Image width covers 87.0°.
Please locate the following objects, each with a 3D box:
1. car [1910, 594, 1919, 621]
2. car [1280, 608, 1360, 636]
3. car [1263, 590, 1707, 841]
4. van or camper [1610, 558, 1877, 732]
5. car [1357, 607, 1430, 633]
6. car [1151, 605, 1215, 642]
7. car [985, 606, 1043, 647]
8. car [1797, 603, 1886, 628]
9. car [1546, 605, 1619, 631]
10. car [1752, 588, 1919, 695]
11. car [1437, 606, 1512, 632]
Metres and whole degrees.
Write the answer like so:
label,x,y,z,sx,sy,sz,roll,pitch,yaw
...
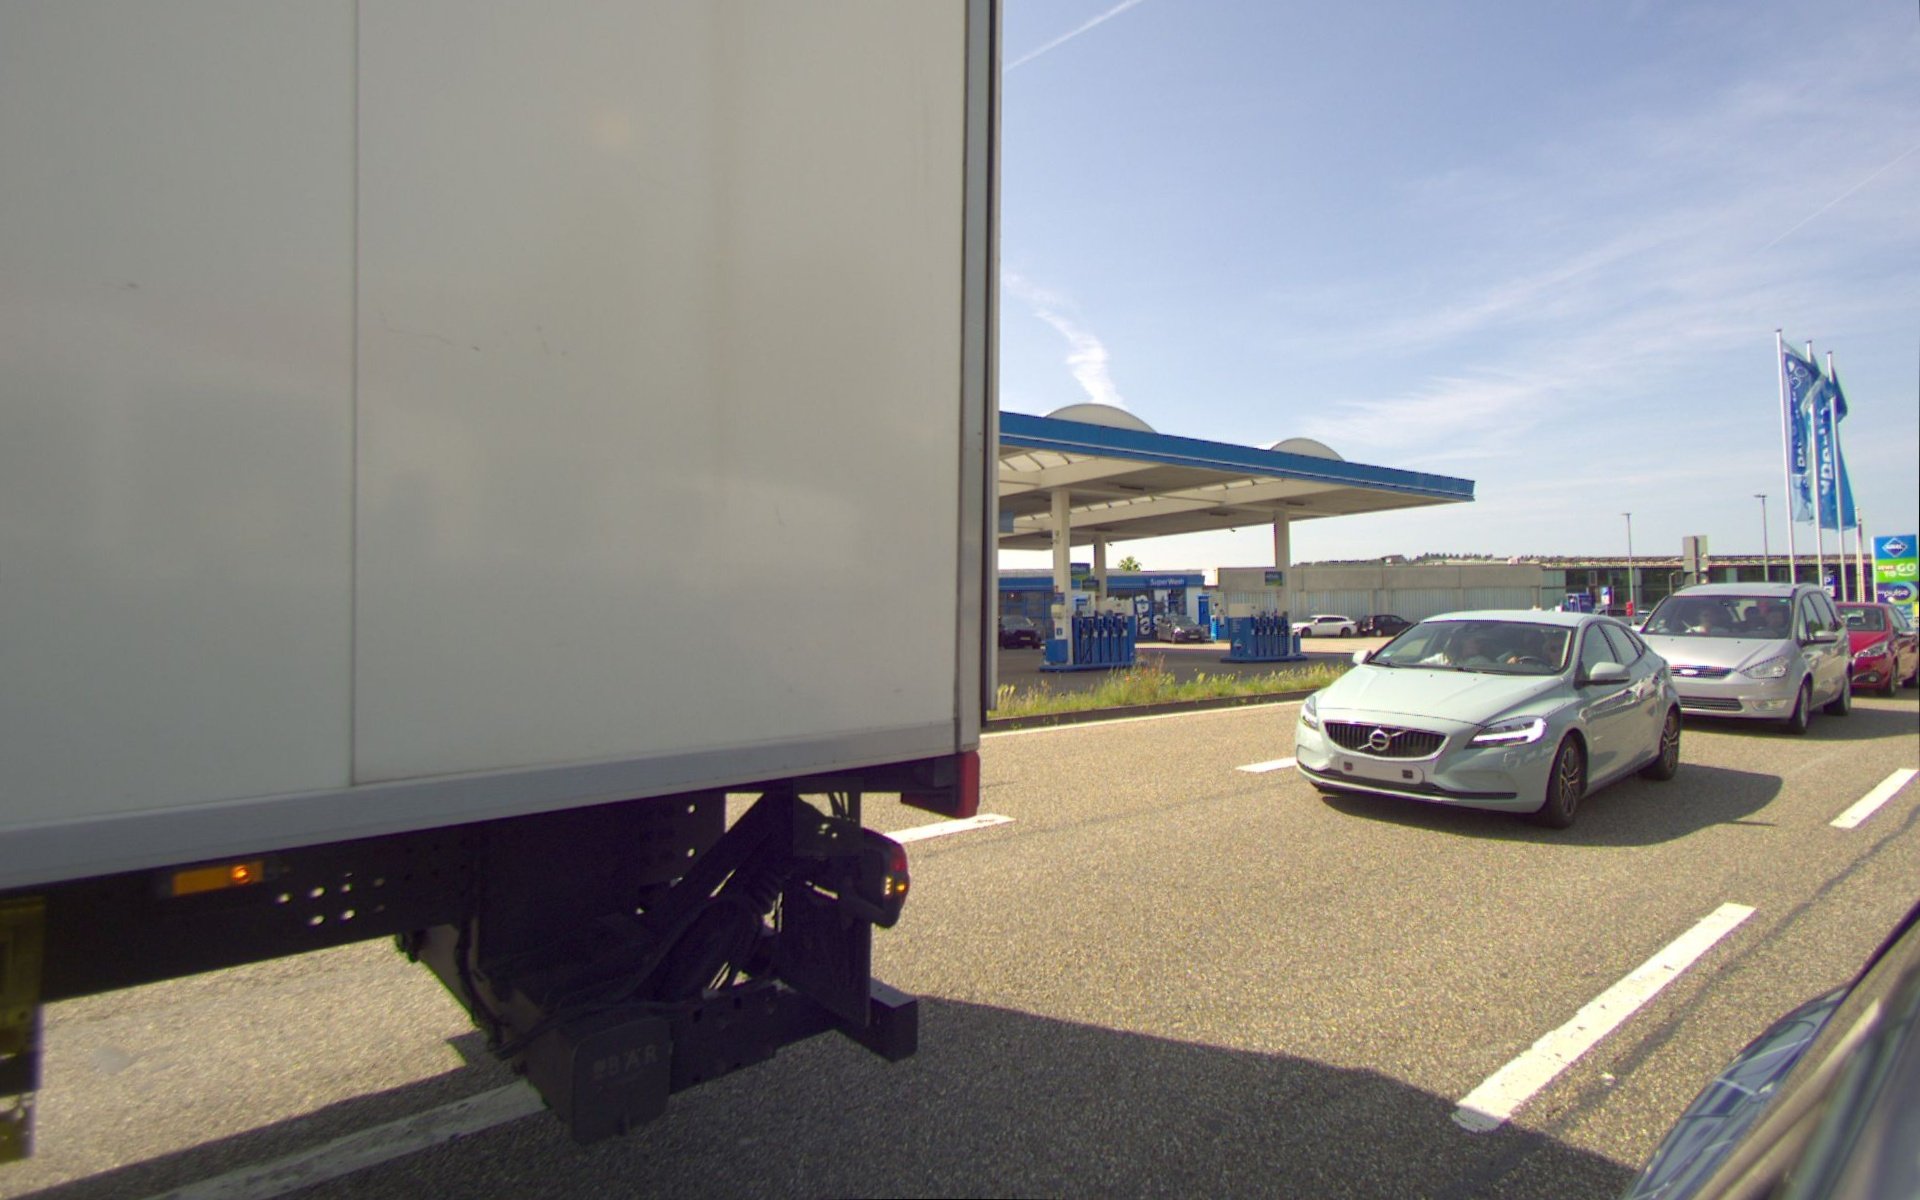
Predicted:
label,x,y,z,sx,sy,sz,roll,pitch,yaw
car,60.330,0.467,60.916,1.784,1.659,4.266,1,-1,-14
car,22.998,1.395,64.671,4.436,1.625,1.893,-1,-1,-12
car,4.257,0.677,7.891,4.153,1.447,1.737,0,-1,-43
van or camper,10.109,0.481,12.888,5.044,1.810,1.749,0,-1,-42
car,28.207,1.280,65.891,3.938,1.625,1.893,-1,-1,-10
car,11.665,1.209,53.205,1.851,1.849,4.177,-1,-1,-9
car,2.605,1.374,50.130,1.864,1.849,4.739,-2,-3,-9
car,60.393,1.094,69.414,1.785,1.659,4.471,1,-1,-9
car,40.538,1.185,66.018,1.852,1.625,4.025,-1,-1,-7
car,14.868,0.600,16.908,3.646,1.592,1.805,0,1,-39
car,33.974,1.267,66.838,3.940,1.625,1.892,-1,-1,-5
